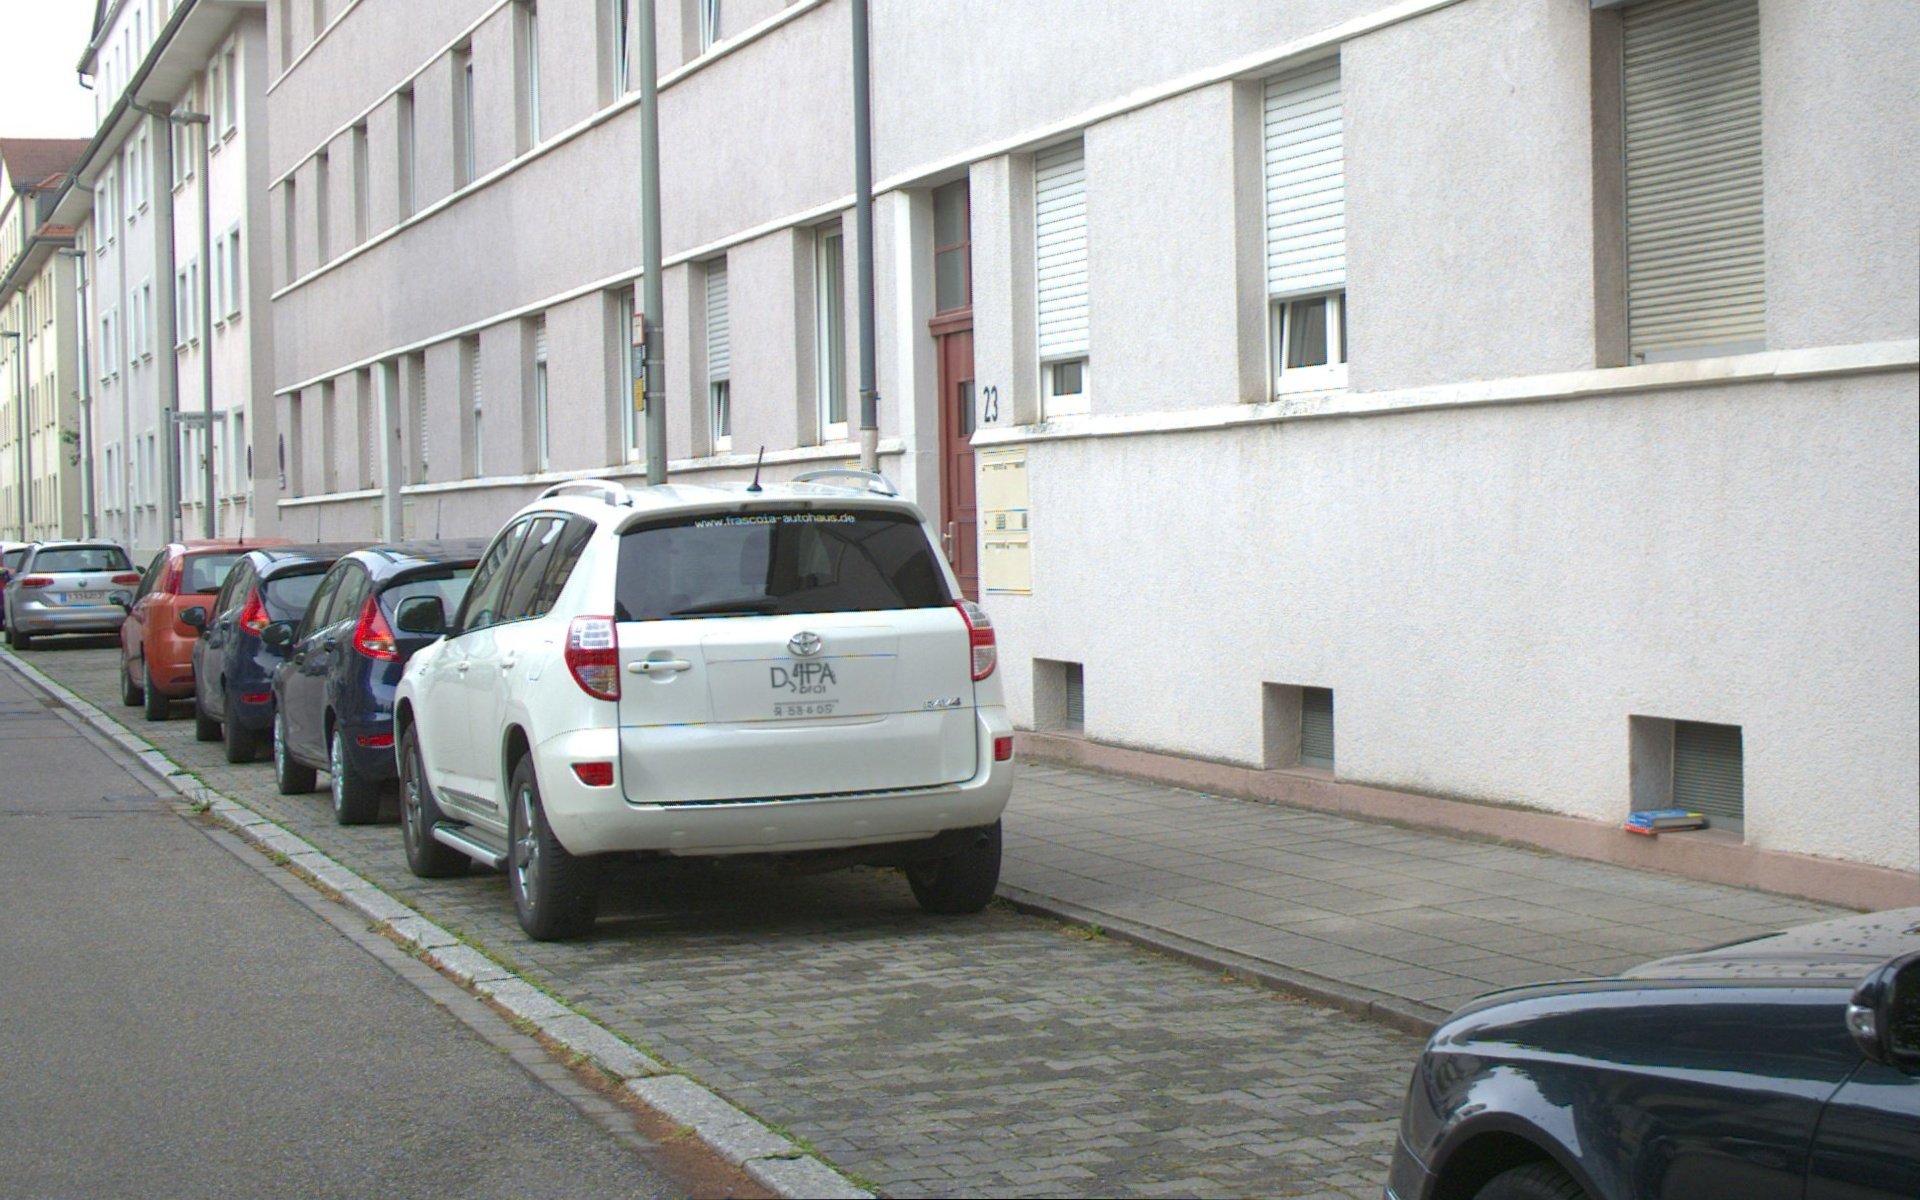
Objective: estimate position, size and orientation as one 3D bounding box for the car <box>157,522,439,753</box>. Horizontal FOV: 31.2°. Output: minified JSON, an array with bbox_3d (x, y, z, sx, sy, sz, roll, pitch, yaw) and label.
[{"bbox_3d":[-4.780,0.201,24.501,1.567,1.468,3.697,-2,2,-17],"label":"car"}]

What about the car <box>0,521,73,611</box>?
[{"bbox_3d":[-15.895,-0.585,57.502,1.669,1.415,4.001,-3,2,-19],"label":"car"}]

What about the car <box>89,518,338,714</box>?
[{"bbox_3d":[-6.497,0.078,29.670,1.696,1.520,3.827,-2,2,-18],"label":"car"}]

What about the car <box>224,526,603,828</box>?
[{"bbox_3d":[-3.159,0.341,19.314,1.566,1.473,3.872,-2,2,-17],"label":"car"}]

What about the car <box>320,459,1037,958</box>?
[{"bbox_3d":[-1.334,0.311,14.152,1.842,1.668,4.291,-2,2,-20],"label":"car"}]

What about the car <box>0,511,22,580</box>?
[{"bbox_3d":[-22.885,-1.279,80.081,1.819,1.571,3.753,0,1,-18],"label":"car"}]

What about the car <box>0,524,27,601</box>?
[{"bbox_3d":[-19.705,-0.769,68.770,1.819,1.499,3.753,0,1,-18],"label":"car"}]

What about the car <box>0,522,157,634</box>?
[{"bbox_3d":[-12.284,-0.348,47.660,1.754,1.462,4.602,0,1,-19],"label":"car"}]

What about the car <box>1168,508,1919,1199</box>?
[{"bbox_3d":[1.959,0.641,3.082,1.744,1.416,4.951,-2,2,-19],"label":"car"}]
